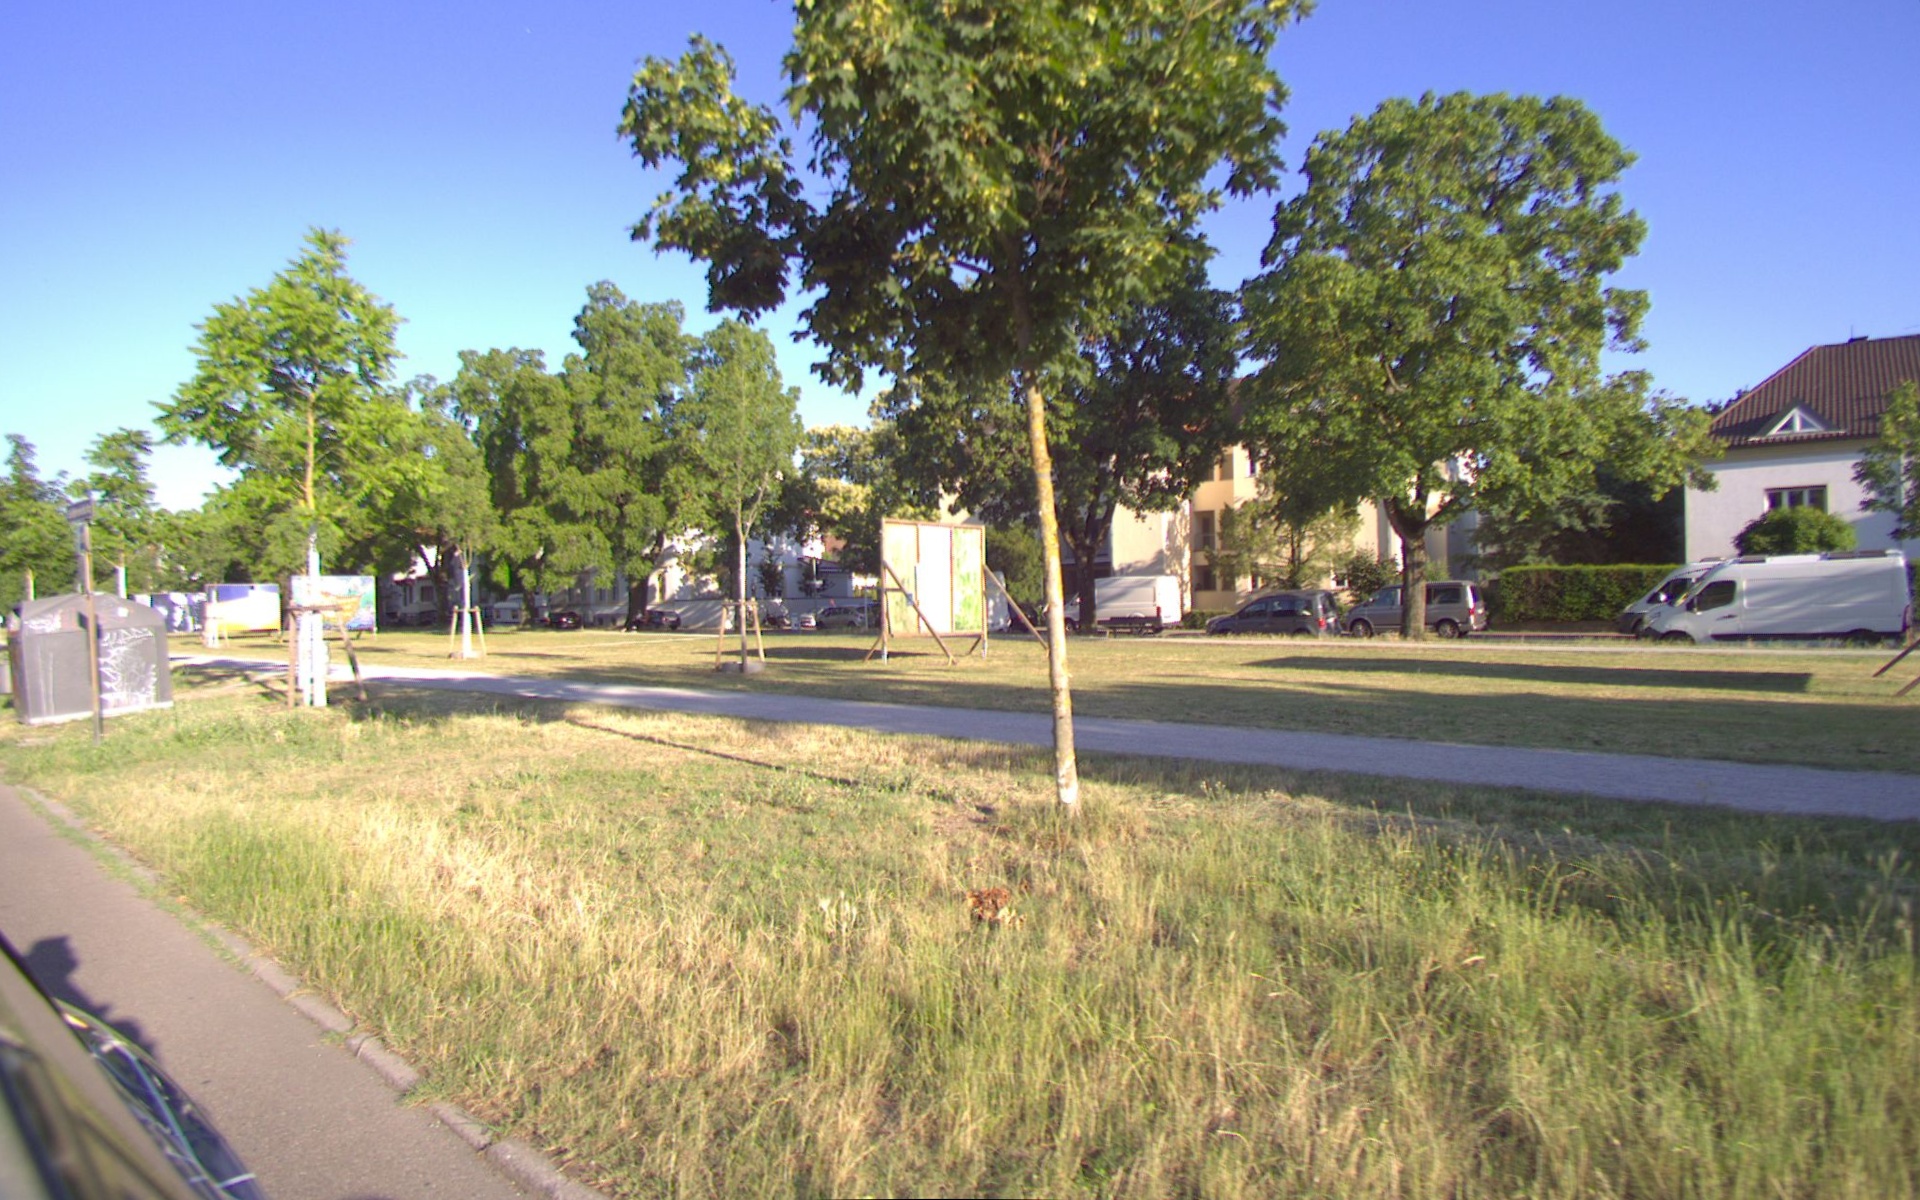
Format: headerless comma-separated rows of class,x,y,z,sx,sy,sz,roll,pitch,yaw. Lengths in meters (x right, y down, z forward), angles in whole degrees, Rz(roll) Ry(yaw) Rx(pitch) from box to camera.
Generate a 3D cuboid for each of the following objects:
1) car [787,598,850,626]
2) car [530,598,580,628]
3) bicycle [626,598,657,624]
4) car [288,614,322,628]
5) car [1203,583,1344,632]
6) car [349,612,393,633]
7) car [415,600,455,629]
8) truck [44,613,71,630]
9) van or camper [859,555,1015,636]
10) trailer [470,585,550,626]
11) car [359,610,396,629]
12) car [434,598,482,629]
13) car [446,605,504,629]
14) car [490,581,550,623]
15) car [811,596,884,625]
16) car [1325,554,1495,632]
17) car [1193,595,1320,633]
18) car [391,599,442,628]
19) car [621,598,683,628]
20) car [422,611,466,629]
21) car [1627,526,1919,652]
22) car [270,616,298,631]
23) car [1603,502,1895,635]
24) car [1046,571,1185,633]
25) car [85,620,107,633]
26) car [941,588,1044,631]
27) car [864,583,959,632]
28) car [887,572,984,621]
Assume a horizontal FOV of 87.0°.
car,-10.145,0.863,72.788,1.977,1.914,4.472,-1,0,36
car,-31.203,1.008,77.954,3.999,2.170,1.973,-1,0,42
bicycle,-17.206,0.594,54.647,2.331,1.352,0.505,-1,0,44
car,-75.761,2.474,117.069,3.993,1.510,1.975,-2,-1,37
car,10.495,0.260,34.027,4.306,1.576,1.400,-1,0,40
car,-51.686,1.994,88.712,4.341,1.742,1.973,-2,-1,40
car,-48.531,1.346,93.507,3.998,2.560,1.973,1,1,41
truck,-172.140,4.147,193.035,7.704,3.170,2.750,-1,0,40
van or camper,-1.110,-0.127,44.548,6.902,3.287,2.614,-2,0,42
trailer,-31.645,0.410,71.072,6.632,2.679,2.448,0,-3,40
car,-59.041,1.998,102.565,4.280,1.838,1.605,-2,-1,37
car,-44.838,1.218,90.348,5.042,2.660,1.925,0,-3,41
car,-35.955,1.260,75.004,4.947,1.654,1.974,-1,1,40
car,-35.892,0.184,82.434,6.071,3.274,1.973,-2,-1,41
car,-6.379,0.590,57.207,3.806,1.554,1.974,-1,0,39
car,16.430,-0.236,37.091,5.321,2.624,2.114,0,-3,39
car,12.024,0.569,41.172,4.564,1.413,1.971,0,-3,45
car,-43.984,1.124,81.902,4.566,2.191,1.974,-2,-1,39
car,-21.353,0.909,70.064,4.712,1.927,1.870,-1,0,42
car,-39.982,1.543,78.375,4.043,1.325,1.832,-1,1,44
car,20.570,-0.207,25.674,5.869,2.847,2.236,0,-3,42
car,-69.972,2.432,104.775,1.868,1.534,3.683,0,-1,-43
car,23.628,-0.838,30.628,6.762,3.586,2.279,0,-3,41
car,6.978,0.116,45.956,6.087,2.617,1.973,0,-3,41
car,-144.730,4.430,169.576,3.996,2.029,2.099,0,-3,40
car,1.571,0.473,50.315,5.048,2.019,1.949,-1,0,42
car,-2.603,0.382,53.792,5.115,2.437,1.916,0,-3,42
car,-1.110,-0.127,44.548,3.999,2.029,1.972,-2,0,42
